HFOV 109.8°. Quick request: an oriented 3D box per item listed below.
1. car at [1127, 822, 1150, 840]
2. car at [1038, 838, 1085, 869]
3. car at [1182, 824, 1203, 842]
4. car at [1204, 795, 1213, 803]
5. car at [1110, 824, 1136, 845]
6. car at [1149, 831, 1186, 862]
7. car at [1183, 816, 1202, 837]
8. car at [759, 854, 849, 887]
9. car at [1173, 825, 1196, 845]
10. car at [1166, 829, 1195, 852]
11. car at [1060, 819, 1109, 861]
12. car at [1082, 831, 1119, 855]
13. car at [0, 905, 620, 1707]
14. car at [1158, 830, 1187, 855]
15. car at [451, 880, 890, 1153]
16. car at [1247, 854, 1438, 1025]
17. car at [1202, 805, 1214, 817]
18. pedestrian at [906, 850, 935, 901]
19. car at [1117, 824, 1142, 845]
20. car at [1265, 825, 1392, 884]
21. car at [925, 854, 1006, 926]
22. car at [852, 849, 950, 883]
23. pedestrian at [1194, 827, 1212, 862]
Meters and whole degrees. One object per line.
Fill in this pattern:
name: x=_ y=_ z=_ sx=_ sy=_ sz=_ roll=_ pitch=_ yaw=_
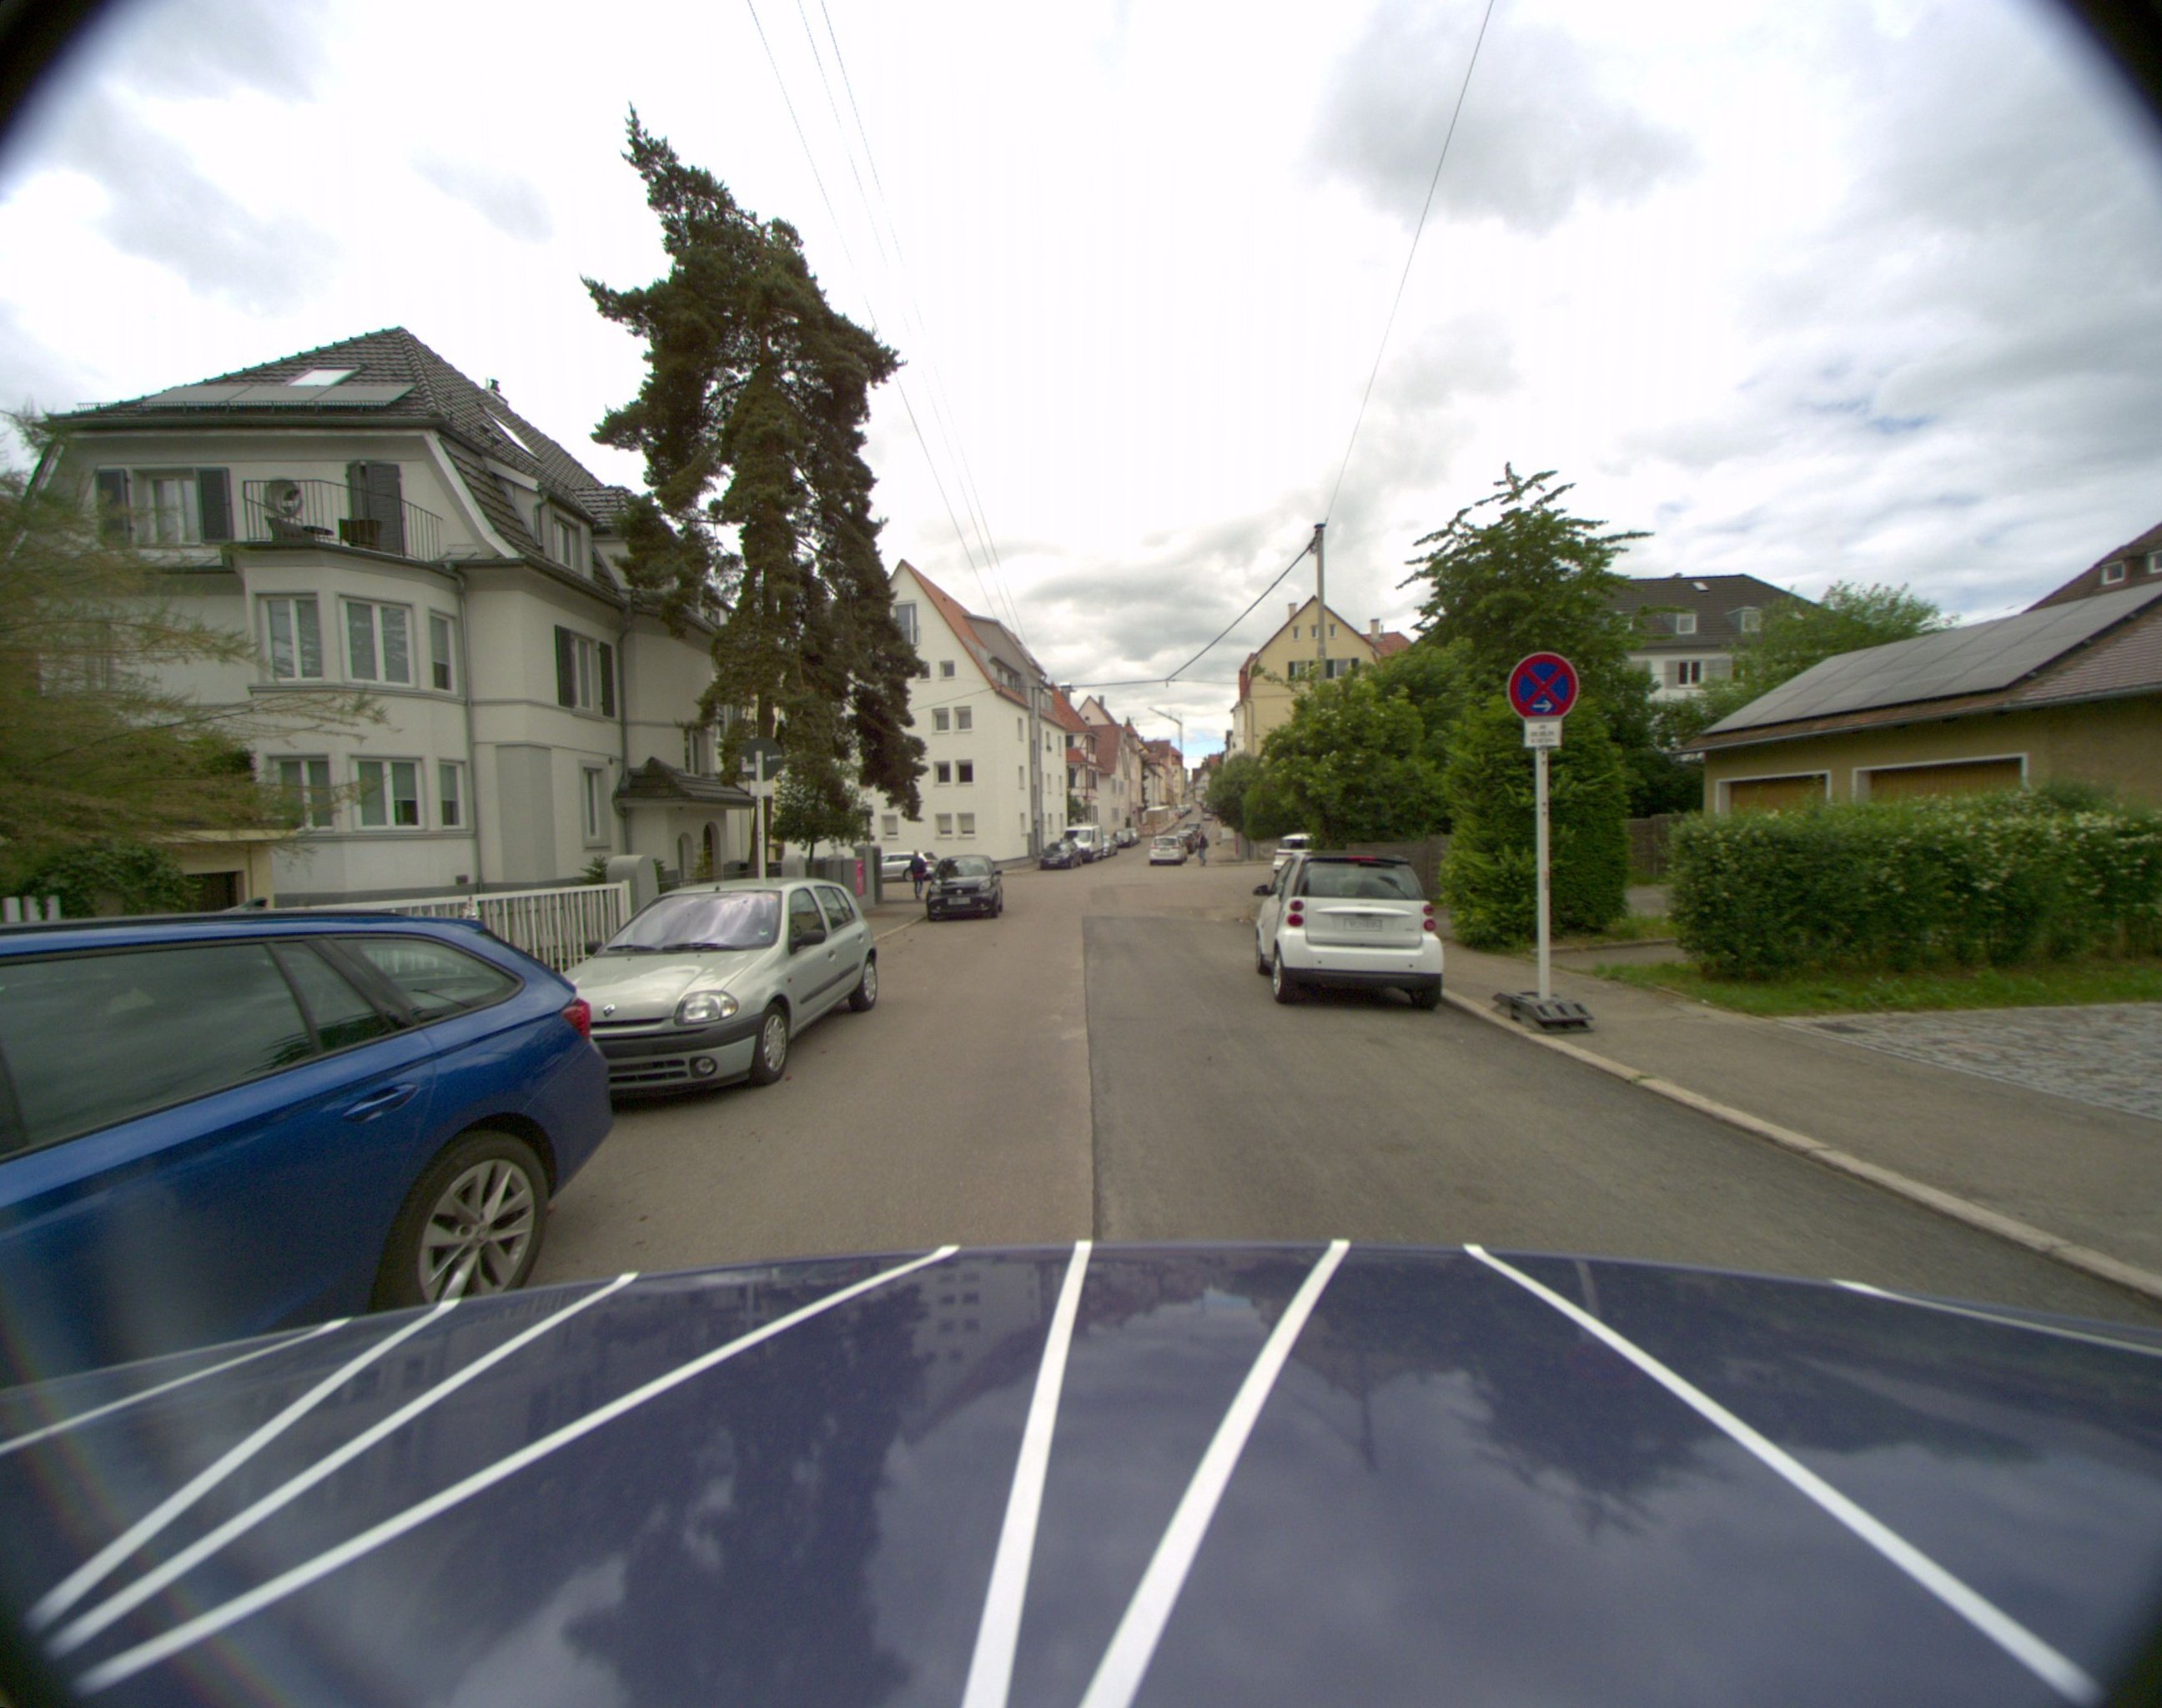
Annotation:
car: x=5.338 y=-2.128 z=70.199 sx=1.628 sy=1.385 sz=4.236 roll=-2 pitch=4 yaw=10
car: x=-1.034 y=-0.057 z=42.769 sx=1.821 sy=1.478 sz=4.287 roll=-1 pitch=3 yaw=10
car: x=9.810 y=-1.865 z=66.667 sx=1.641 sy=1.391 sz=3.703 roll=0 pitch=4 yaw=11
car: x=29.201 y=-12.568 z=173.766 sx=1.781 sy=1.559 sz=4.000 roll=-1 pitch=5 yaw=13
car: x=3.659 y=-1.677 z=65.396 sx=1.780 sy=1.711 sz=4.001 roll=-2 pitch=2 yaw=10
car: x=5.049 y=-0.470 z=43.893 sx=1.807 sy=1.650 sz=4.153 roll=0 pitch=2 yaw=11
car: x=10.495 y=-2.612 z=71.556 sx=1.752 sy=1.788 sz=4.148 roll=0 pitch=5 yaw=9
car: x=-14.249 y=0.841 z=39.132 sx=3.992 sy=1.414 sz=1.739 roll=-3 pitch=2 yaw=16
car: x=8.595 y=-1.576 z=62.672 sx=1.641 sy=1.421 sz=4.123 roll=1 pitch=5 yaw=11
car: x=7.533 y=-1.058 z=57.229 sx=1.805 sy=1.472 sz=4.329 roll=0 pitch=4 yaw=11
car: x=0.310 y=-0.949 z=48.837 sx=1.996 sy=2.409 sz=5.294 roll=0 pitch=4 yaw=12
car: x=1.441 y=-0.821 z=54.281 sx=1.827 sy=1.437 sz=4.384 roll=-2 pitch=4 yaw=12
car: x=-2.824 y=1.018 z=1.171 sx=1.652 sy=1.450 sz=4.051 roll=-3 pitch=1 yaw=0
car: x=5.912 y=-0.765 z=48.803 sx=1.609 sy=1.445 sz=3.615 roll=2 pitch=4 yaw=11
car: x=-2.905 y=1.033 z=6.356 sx=1.578 sy=1.392 sz=3.655 roll=-3 pitch=1 yaw=0
car: x=2.761 y=0.800 z=8.557 sx=1.445 sy=1.543 sz=2.771 roll=2 pitch=1 yaw=7
car: x=19.292 y=-6.545 z=115.256 sx=1.661 sy=1.559 sz=4.000 roll=0 pitch=6 yaw=13
pedestrian: x=-5.158 y=0.685 z=24.443 sx=0.682 sy=1.568 sz=0.906 roll=1 pitch=3 yaw=6
car: x=4.186 y=-1.702 z=65.314 sx=1.607 sy=1.482 sz=4.023 roll=-2 pitch=4 yaw=11
car: x=8.615 y=-0.021 z=26.292 sx=4.521 sy=1.646 sz=1.830 roll=-5 pitch=3 yaw=-36
car: x=-2.819 y=0.841 z=19.039 sx=1.576 sy=1.523 sz=2.866 roll=-4 pitch=1 yaw=-2
car: x=-8.890 y=0.595 z=37.671 sx=4.352 sy=1.442 sz=1.765 roll=-2 pitch=1 yaw=13
pedestrian: x=6.198 y=-0.497 z=38.587 sx=0.821 sy=1.750 sz=0.644 roll=-3 pitch=2 yaw=9
